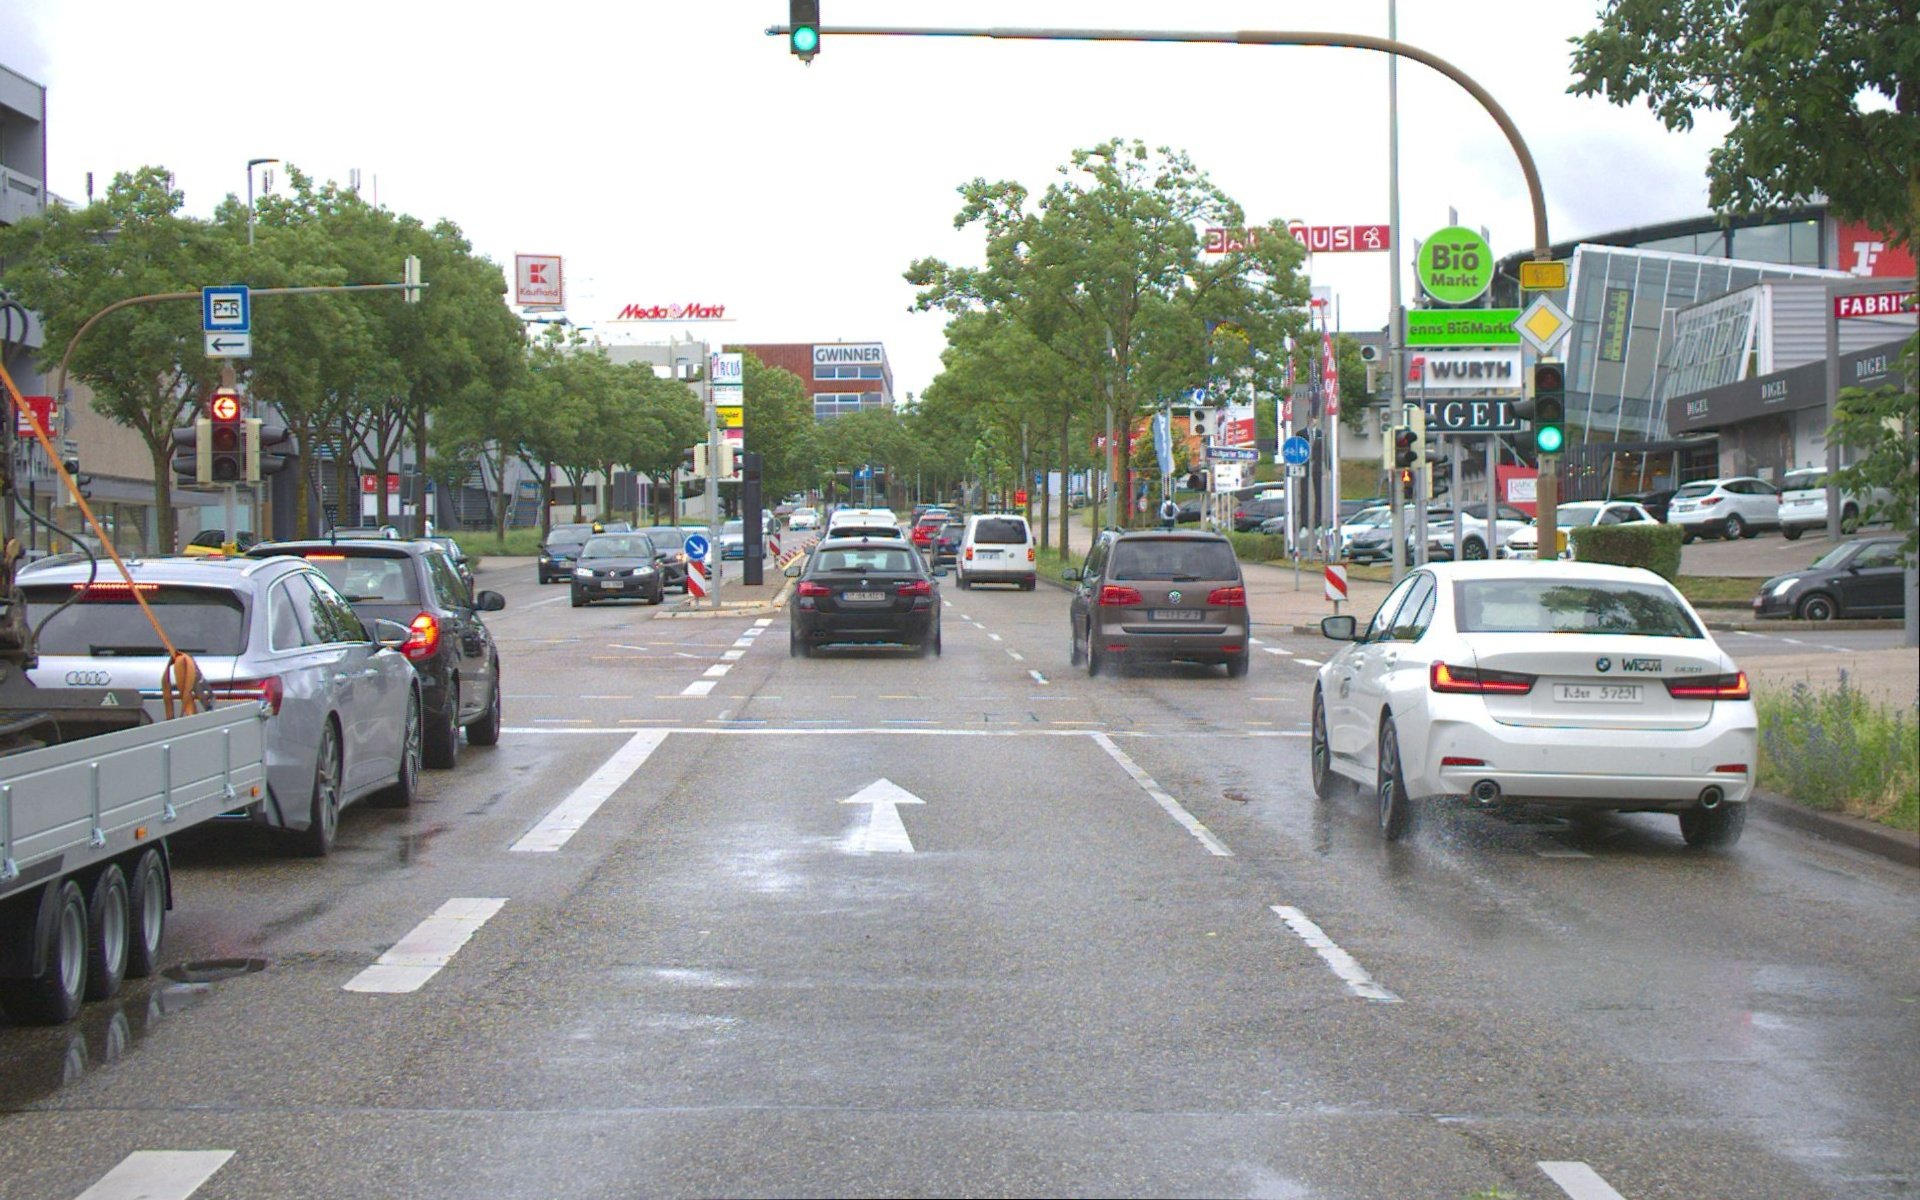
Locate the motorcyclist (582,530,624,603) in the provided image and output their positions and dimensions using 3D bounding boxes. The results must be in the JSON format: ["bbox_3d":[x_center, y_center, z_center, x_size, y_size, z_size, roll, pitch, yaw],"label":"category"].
[{"bbox_3d":[-7.666,-0.729,73.855,0.806,1.554,1.268,0,1,-3],"label":"motorcyclist"}]

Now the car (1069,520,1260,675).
[{"bbox_3d":[2.214,-0.081,38.274,1.801,1.581,4.451,1,1,0],"label":"car"}]

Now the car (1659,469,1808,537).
[{"bbox_3d":[20.853,-2.619,92.600,4.142,1.765,1.737,-2,1,-40],"label":"car"}]

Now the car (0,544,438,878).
[{"bbox_3d":[-3.888,0.457,17.609,1.765,1.453,4.781,-1,1,-1],"label":"car"}]

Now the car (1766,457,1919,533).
[{"bbox_3d":[21.358,-2.526,82.931,4.143,1.765,1.737,-2,2,-44],"label":"car"}]

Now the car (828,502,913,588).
[{"bbox_3d":[-2.167,-1.324,83.984,1.993,2.007,4.000,1,0,-1],"label":"car"}]

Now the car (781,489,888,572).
[{"bbox_3d":[-2.213,-1.208,59.949,1.682,1.372,4.001,-1,1,-4],"label":"car"}]

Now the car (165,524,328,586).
[{"bbox_3d":[-18.727,-1.185,90.204,3.994,1.546,1.896,0,2,34],"label":"car"}]

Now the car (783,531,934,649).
[{"bbox_3d":[-1.259,-0.154,42.922,1.781,1.393,4.000,0,1,-1],"label":"car"}]

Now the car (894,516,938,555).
[{"bbox_3d":[-1.746,-2.556,136.275,1.695,1.438,3.990,-1,2,0],"label":"car"}]

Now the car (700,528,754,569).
[{"bbox_3d":[-8.528,-1.902,126.211,1.723,1.393,4.790,-3,1,-1],"label":"car"}]

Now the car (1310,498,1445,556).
[{"bbox_3d":[11.801,-2.066,97.090,3.589,1.530,1.796,-3,2,-40],"label":"car"}]

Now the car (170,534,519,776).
[{"bbox_3d":[-4.116,0.306,23.561,1.713,1.484,4.078,-1,1,-1],"label":"car"}]

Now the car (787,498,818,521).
[{"bbox_3d":[-10.203,-5.887,223.131,1.943,1.443,4.001,0,1,-2],"label":"car"}]

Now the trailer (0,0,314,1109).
[{"bbox_3d":[-3.754,-0.160,11.272,2.372,2.887,5.546,-1,1,-2],"label":"trailer"}]

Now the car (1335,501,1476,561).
[{"bbox_3d":[11.589,-1.798,89.389,3.588,1.530,1.643,-2,1,-40],"label":"car"}]

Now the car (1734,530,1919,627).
[{"bbox_3d":[14.715,-0.359,55.539,3.979,1.484,1.818,-1,0,-1],"label":"car"}]

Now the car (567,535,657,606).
[{"bbox_3d":[-6.990,-0.618,69.251,1.682,1.372,4.001,-1,1,-4],"label":"car"}]

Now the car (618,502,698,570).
[{"bbox_3d":[-6.876,-1.451,78.474,1.744,1.484,4.830,-1,1,-4],"label":"car"}]

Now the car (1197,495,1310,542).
[{"bbox_3d":[10.795,-3.010,126.335,4.111,1.697,1.799,0,2,5],"label":"car"}]

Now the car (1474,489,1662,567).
[{"bbox_3d":[12.687,-1.514,71.589,1.930,1.571,4.278,0,2,41],"label":"car"}]

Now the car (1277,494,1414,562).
[{"bbox_3d":[12.058,-2.249,107.690,4.111,2.098,1.800,0,1,1],"label":"car"}]

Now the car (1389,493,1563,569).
[{"bbox_3d":[12.579,-1.693,83.651,4.016,1.657,1.982,-4,3,-40],"label":"car"}]

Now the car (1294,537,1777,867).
[{"bbox_3d":[2.980,0.452,18.777,1.801,1.539,4.620,1,1,0],"label":"car"}]

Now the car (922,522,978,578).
[{"bbox_3d":[-0.318,-1.557,107.137,1.685,1.678,3.403,1,0,0],"label":"car"}]

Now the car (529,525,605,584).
[{"bbox_3d":[-10.974,-1.289,96.206,1.910,1.603,4.364,-1,1,-4],"label":"car"}]

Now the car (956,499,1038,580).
[{"bbox_3d":[0.860,-1.443,82.152,1.781,1.860,4.000,-1,1,-1],"label":"car"}]

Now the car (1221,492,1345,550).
[{"bbox_3d":[11.157,-2.734,118.878,4.111,1.898,1.800,-1,1,1],"label":"car"}]
